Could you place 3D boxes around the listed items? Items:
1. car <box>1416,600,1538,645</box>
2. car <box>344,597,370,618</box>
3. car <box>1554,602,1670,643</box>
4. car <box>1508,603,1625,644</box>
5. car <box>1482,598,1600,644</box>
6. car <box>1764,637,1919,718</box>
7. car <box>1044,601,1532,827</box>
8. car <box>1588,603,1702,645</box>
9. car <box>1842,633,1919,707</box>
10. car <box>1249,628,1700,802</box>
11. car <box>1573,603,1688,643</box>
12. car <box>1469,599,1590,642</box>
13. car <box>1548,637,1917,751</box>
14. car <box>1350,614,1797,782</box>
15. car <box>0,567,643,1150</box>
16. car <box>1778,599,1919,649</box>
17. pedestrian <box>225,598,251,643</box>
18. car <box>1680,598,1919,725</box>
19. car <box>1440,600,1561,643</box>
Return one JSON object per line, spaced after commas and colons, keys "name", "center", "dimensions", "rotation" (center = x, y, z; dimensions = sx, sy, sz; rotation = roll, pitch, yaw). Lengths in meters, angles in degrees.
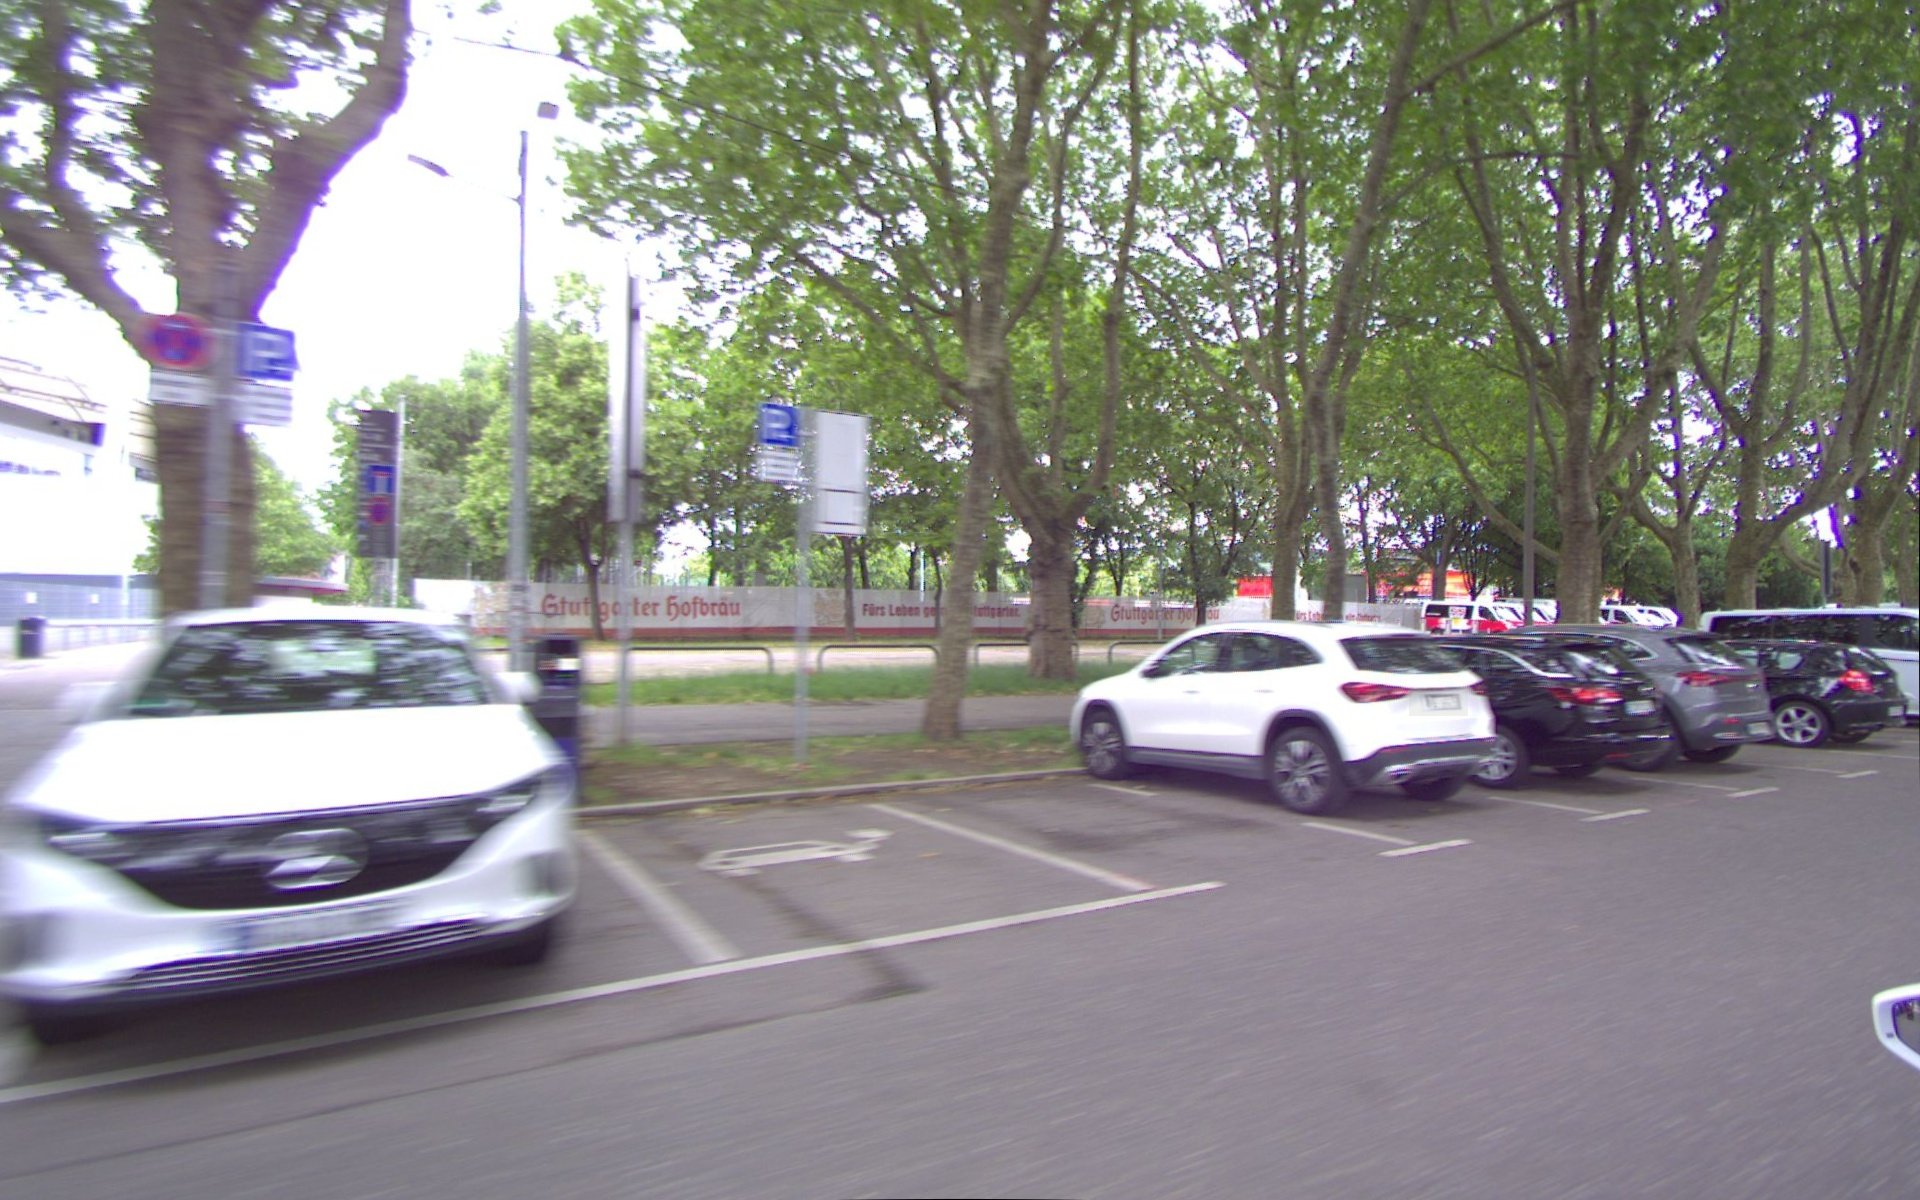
{"name": "car", "center": [28.859, 1.211, 56.339], "dimensions": [1.977, 2.283, 5.972], "rotation": [1, 0, -30]}
{"name": "car", "center": [-60.112, 0.808, 100.165], "dimensions": [2.168, 1.926, 4.655], "rotation": [0, -2, -31]}
{"name": "car", "center": [41.491, 1.397, 64.086], "dimensions": [1.977, 2.361, 5.972], "rotation": [1, 0, -30]}
{"name": "car", "center": [37.248, 1.406, 61.914], "dimensions": [1.977, 2.270, 5.972], "rotation": [1, 0, -30]}
{"name": "car", "center": [35.130, 1.225, 60.962], "dimensions": [1.977, 2.560, 5.972], "rotation": [1, 0, -30]}
{"name": "car", "center": [18.154, 1.438, 18.874], "dimensions": [1.754, 1.471, 4.427], "rotation": [1, -3, -31]}
{"name": "car", "center": [2.903, 0.970, 9.890], "dimensions": [1.978, 1.689, 4.318], "rotation": [1, -3, -32]}
{"name": "car", "center": [45.386, 1.565, 66.714], "dimensions": [1.977, 2.560, 5.972], "rotation": [1, 0, -30]}
{"name": "car", "center": [20.360, 1.373, 19.564], "dimensions": [1.750, 1.471, 4.435], "rotation": [1, -2, -25]}
{"name": "car", "center": [5.290, 1.103, 10.864], "dimensions": [1.822, 1.495, 3.966], "rotation": [1, -3, -32]}
{"name": "car", "center": [43.508, 1.445, 65.365], "dimensions": [1.977, 2.336, 5.972], "rotation": [1, 0, -30]}
{"name": "car", "center": [33.306, 1.159, 58.937], "dimensions": [1.977, 2.349, 5.972], "rotation": [1, 0, -30]}
{"name": "car", "center": [11.141, 1.293, 14.783], "dimensions": [1.664, 1.431, 3.966], "rotation": [1, -3, -32]}
{"name": "car", "center": [7.352, 1.111, 12.529], "dimensions": [1.978, 1.689, 4.318], "rotation": [1, -3, -32]}
{"name": "car", "center": [-3.157, 0.806, 5.077], "dimensions": [1.978, 1.618, 4.357], "rotation": [1, -2, -32]}
{"name": "car", "center": [50.754, 1.319, 57.474], "dimensions": [1.976, 2.632, 5.760], "rotation": [1, 0, -29]}
{"name": "pedestrian", "center": [-28.279, 0.804, 39.354], "dimensions": [0.756, 1.748, 0.655], "rotation": [1, 1, -31]}
{"name": "car", "center": [15.742, 1.037, 17.488], "dimensions": [1.897, 2.045, 4.870], "rotation": [1, -3, -31]}
{"name": "car", "center": [30.935, 1.175, 57.708], "dimensions": [1.977, 2.283, 5.972], "rotation": [1, 0, -30]}
